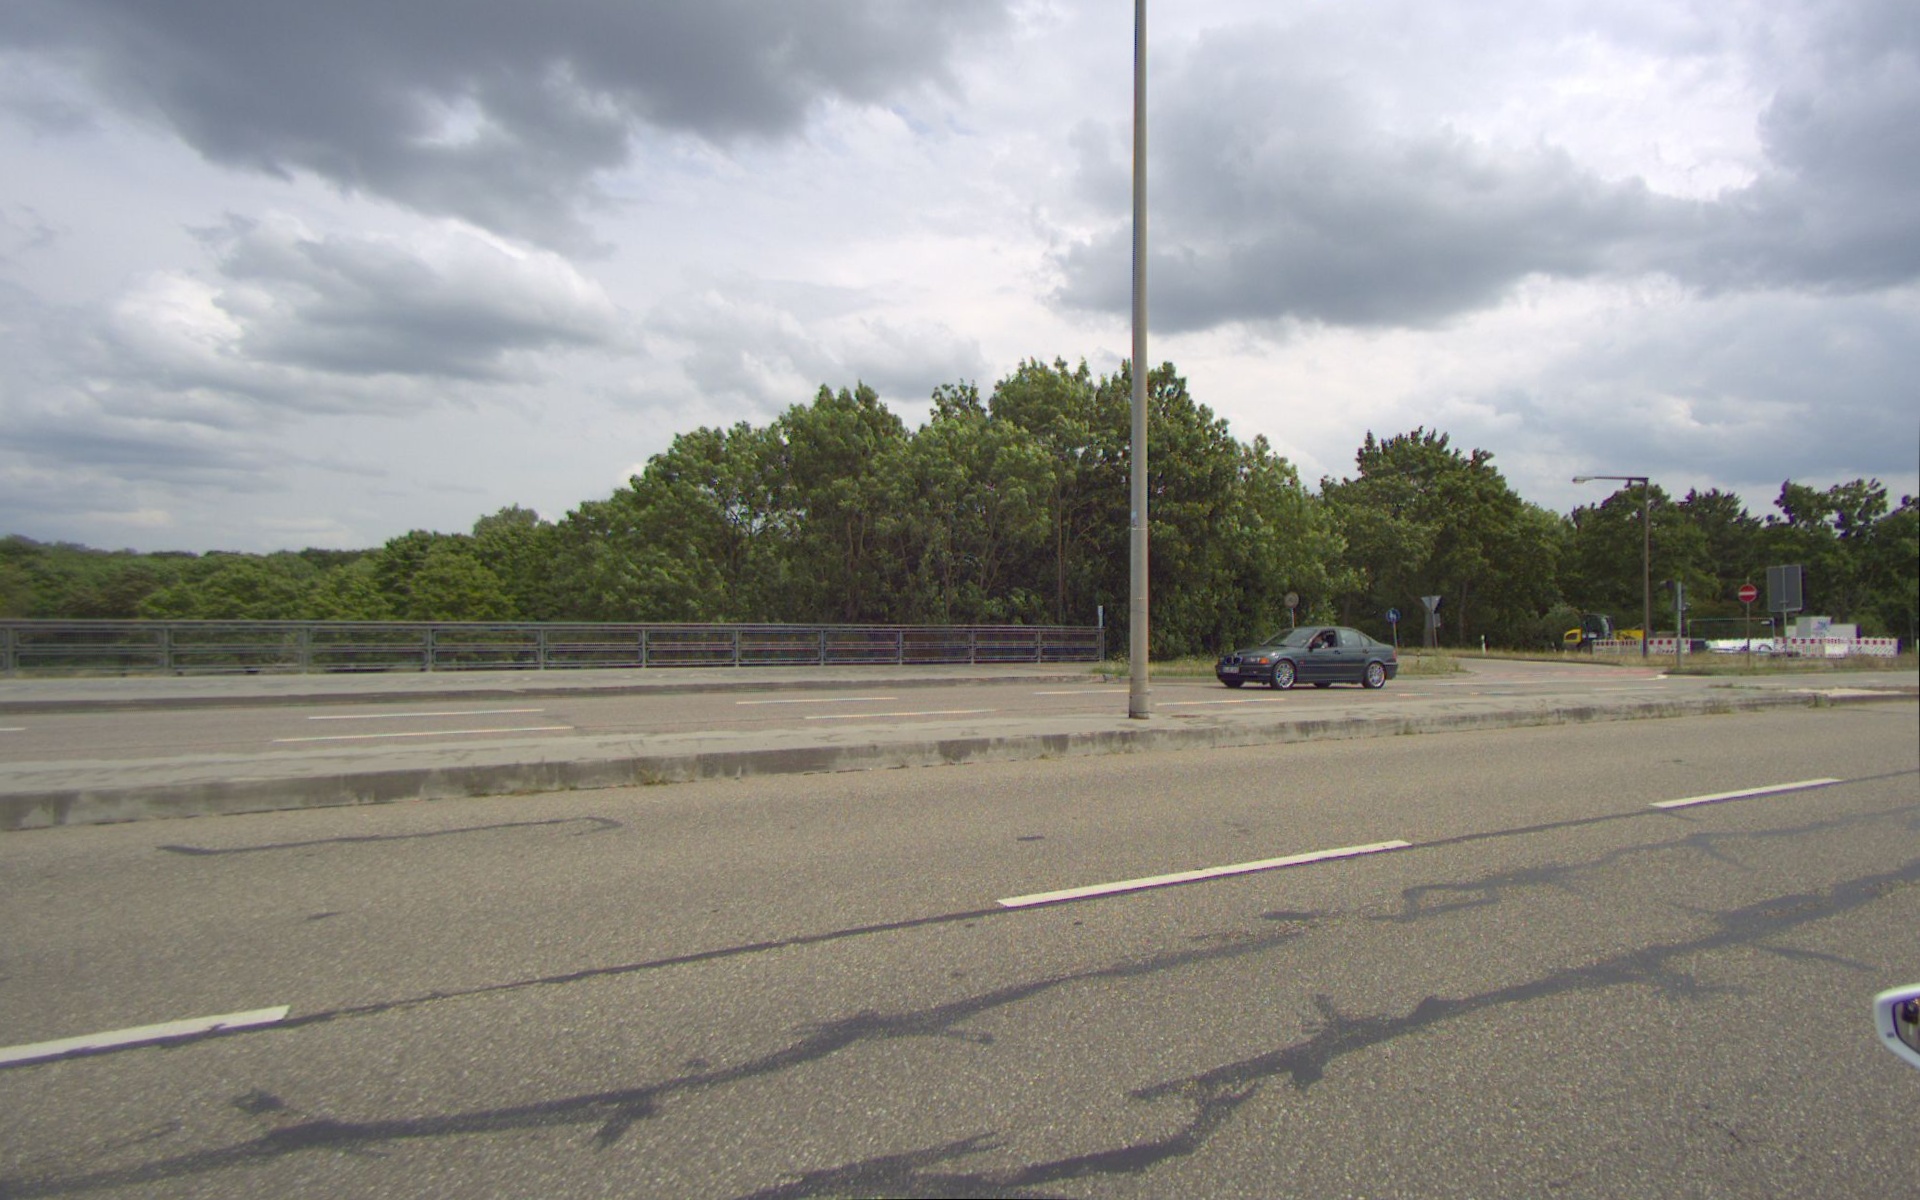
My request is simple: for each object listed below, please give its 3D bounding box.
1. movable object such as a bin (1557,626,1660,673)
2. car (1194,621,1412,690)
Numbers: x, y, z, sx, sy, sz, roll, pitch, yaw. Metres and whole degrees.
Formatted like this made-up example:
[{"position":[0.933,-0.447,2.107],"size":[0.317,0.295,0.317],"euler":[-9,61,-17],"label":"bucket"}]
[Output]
[{"position":[36.743,2.761,56.998],"size":[1.983,2.429,4.541],"euler":[0,0,-39],"label":"movable object such as a bin"},{"position":[7.627,1.230,22.317],"size":[4.516,1.391,1.988],"euler":[2,-3,-26],"label":"car"}]
